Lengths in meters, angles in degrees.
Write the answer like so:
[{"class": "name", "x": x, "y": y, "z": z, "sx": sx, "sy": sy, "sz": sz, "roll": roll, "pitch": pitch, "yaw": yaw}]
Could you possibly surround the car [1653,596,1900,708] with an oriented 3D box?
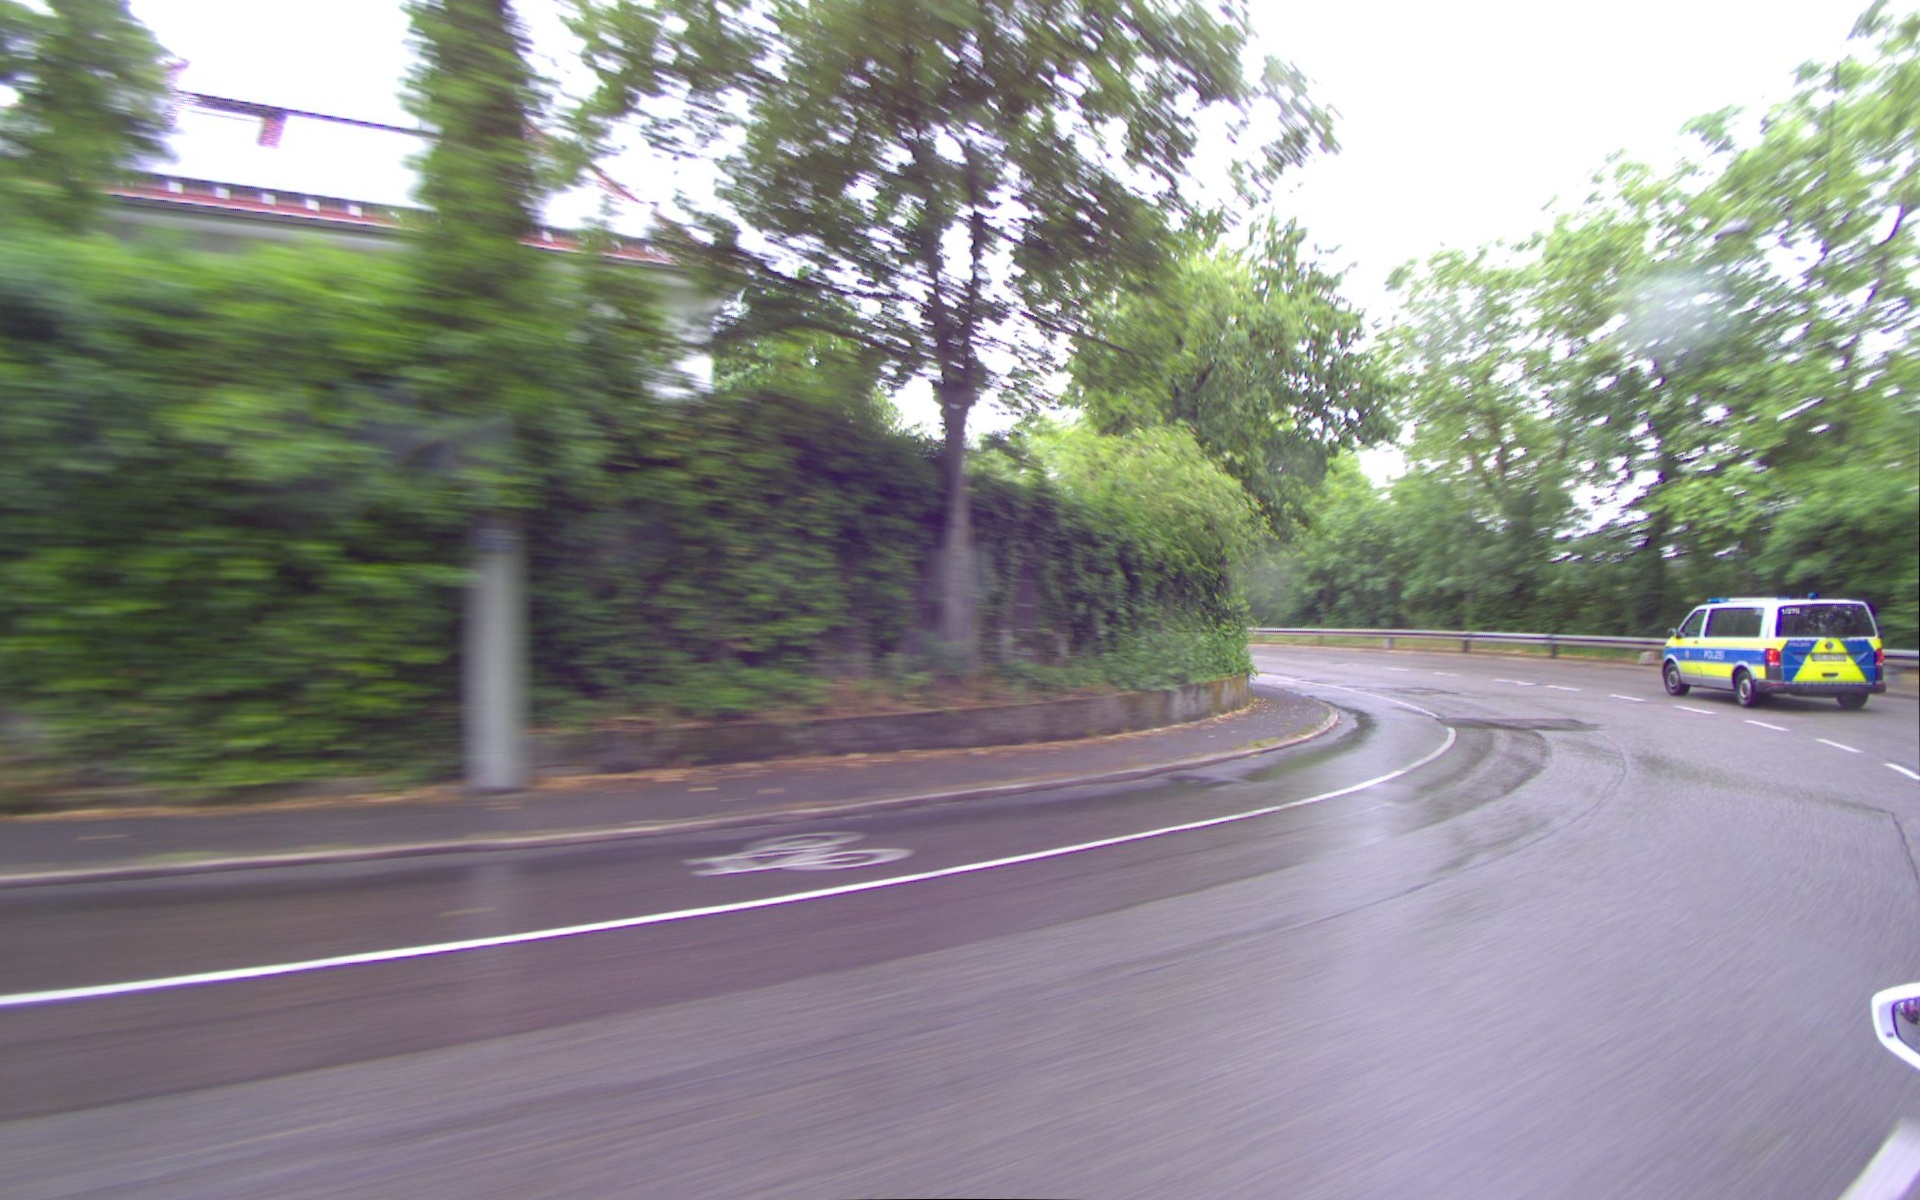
[{"class": "car", "x": 15.701, "y": 0.984, "z": 19.689, "sx": 1.960, "sy": 1.918, "sz": 4.573, "roll": -1, "pitch": -2, "yaw": 14}]
